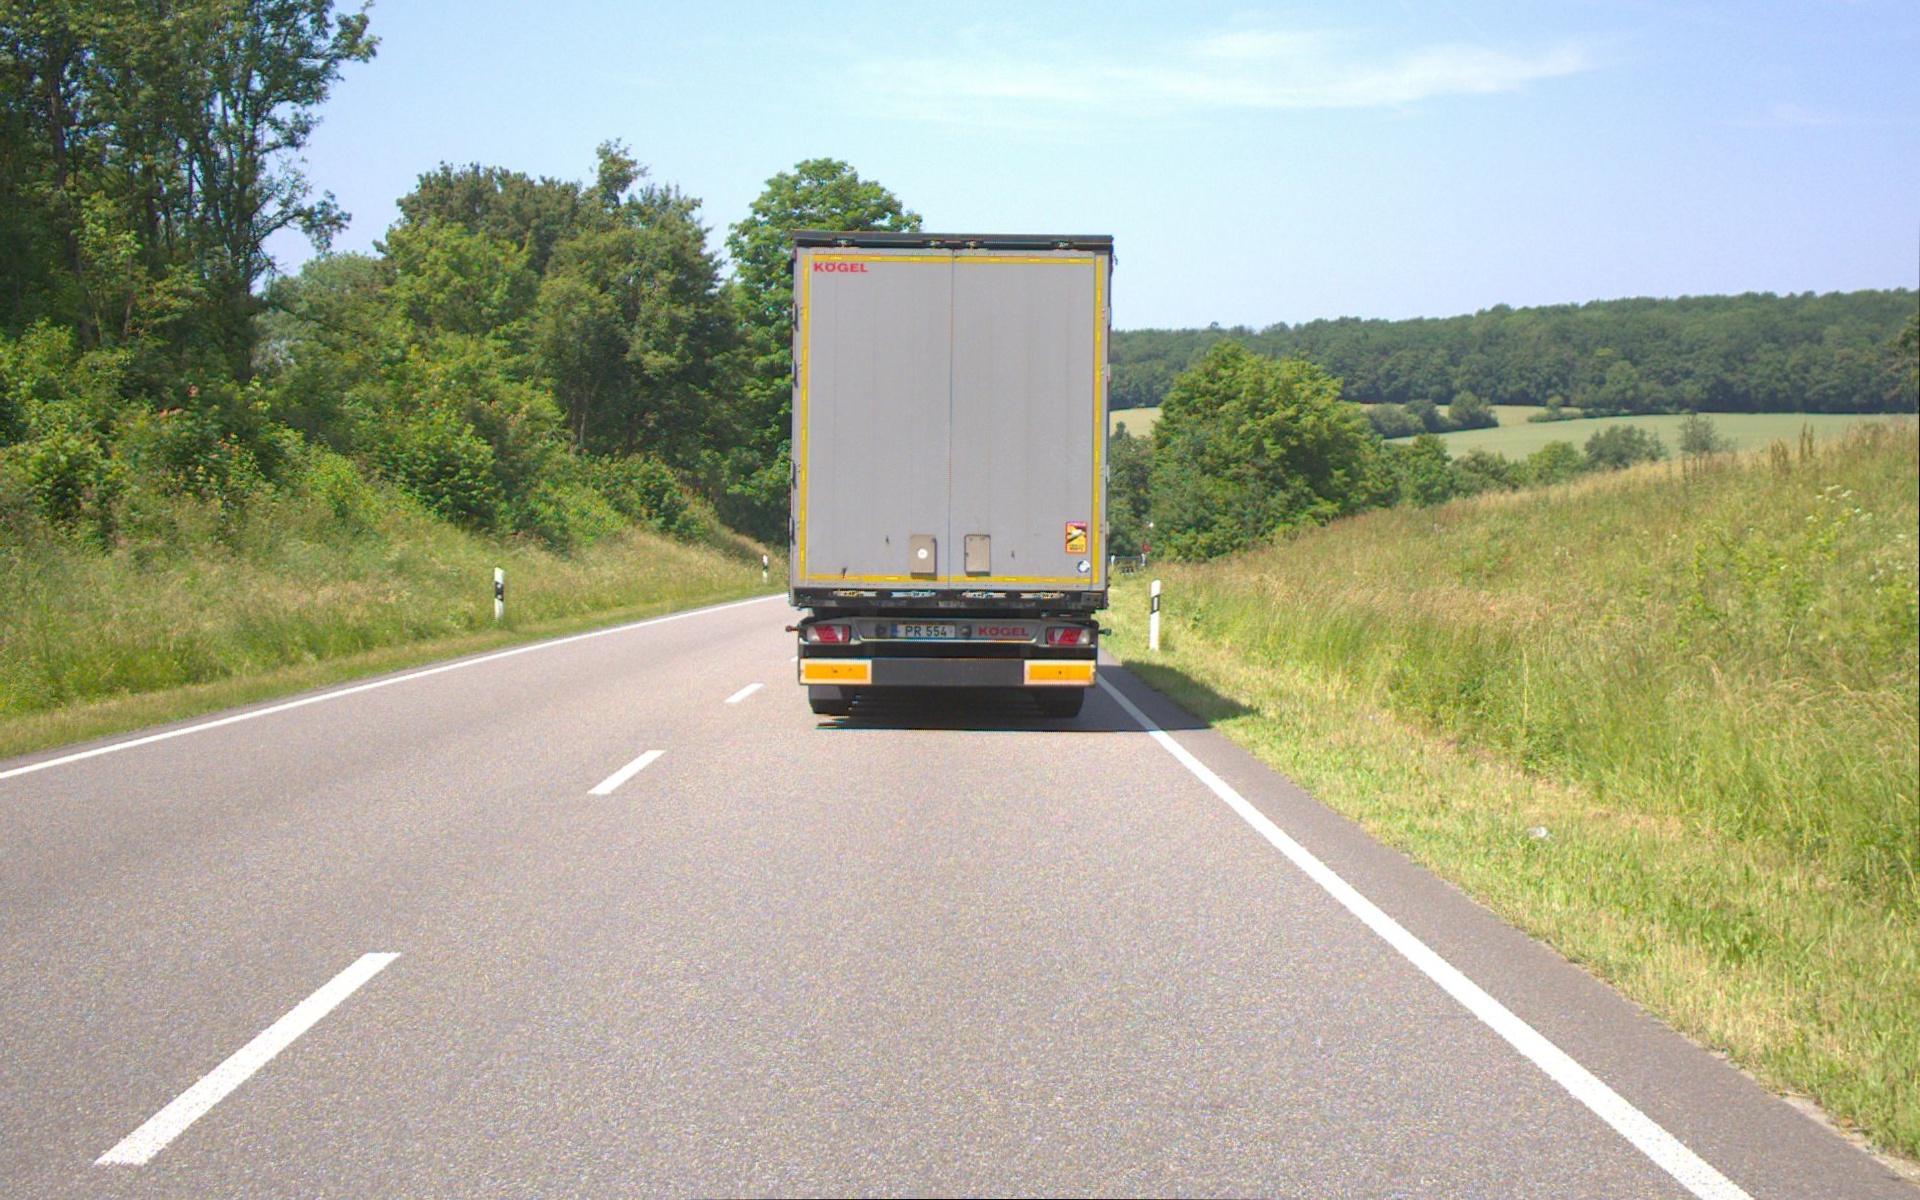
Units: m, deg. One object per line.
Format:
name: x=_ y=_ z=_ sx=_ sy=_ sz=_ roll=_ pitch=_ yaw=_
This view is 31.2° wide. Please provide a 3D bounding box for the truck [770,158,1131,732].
truck: x=-0.149 y=-1.339 z=33.131 sx=2.817 sy=4.517 sz=11.769 roll=1 pitch=1 yaw=-1
